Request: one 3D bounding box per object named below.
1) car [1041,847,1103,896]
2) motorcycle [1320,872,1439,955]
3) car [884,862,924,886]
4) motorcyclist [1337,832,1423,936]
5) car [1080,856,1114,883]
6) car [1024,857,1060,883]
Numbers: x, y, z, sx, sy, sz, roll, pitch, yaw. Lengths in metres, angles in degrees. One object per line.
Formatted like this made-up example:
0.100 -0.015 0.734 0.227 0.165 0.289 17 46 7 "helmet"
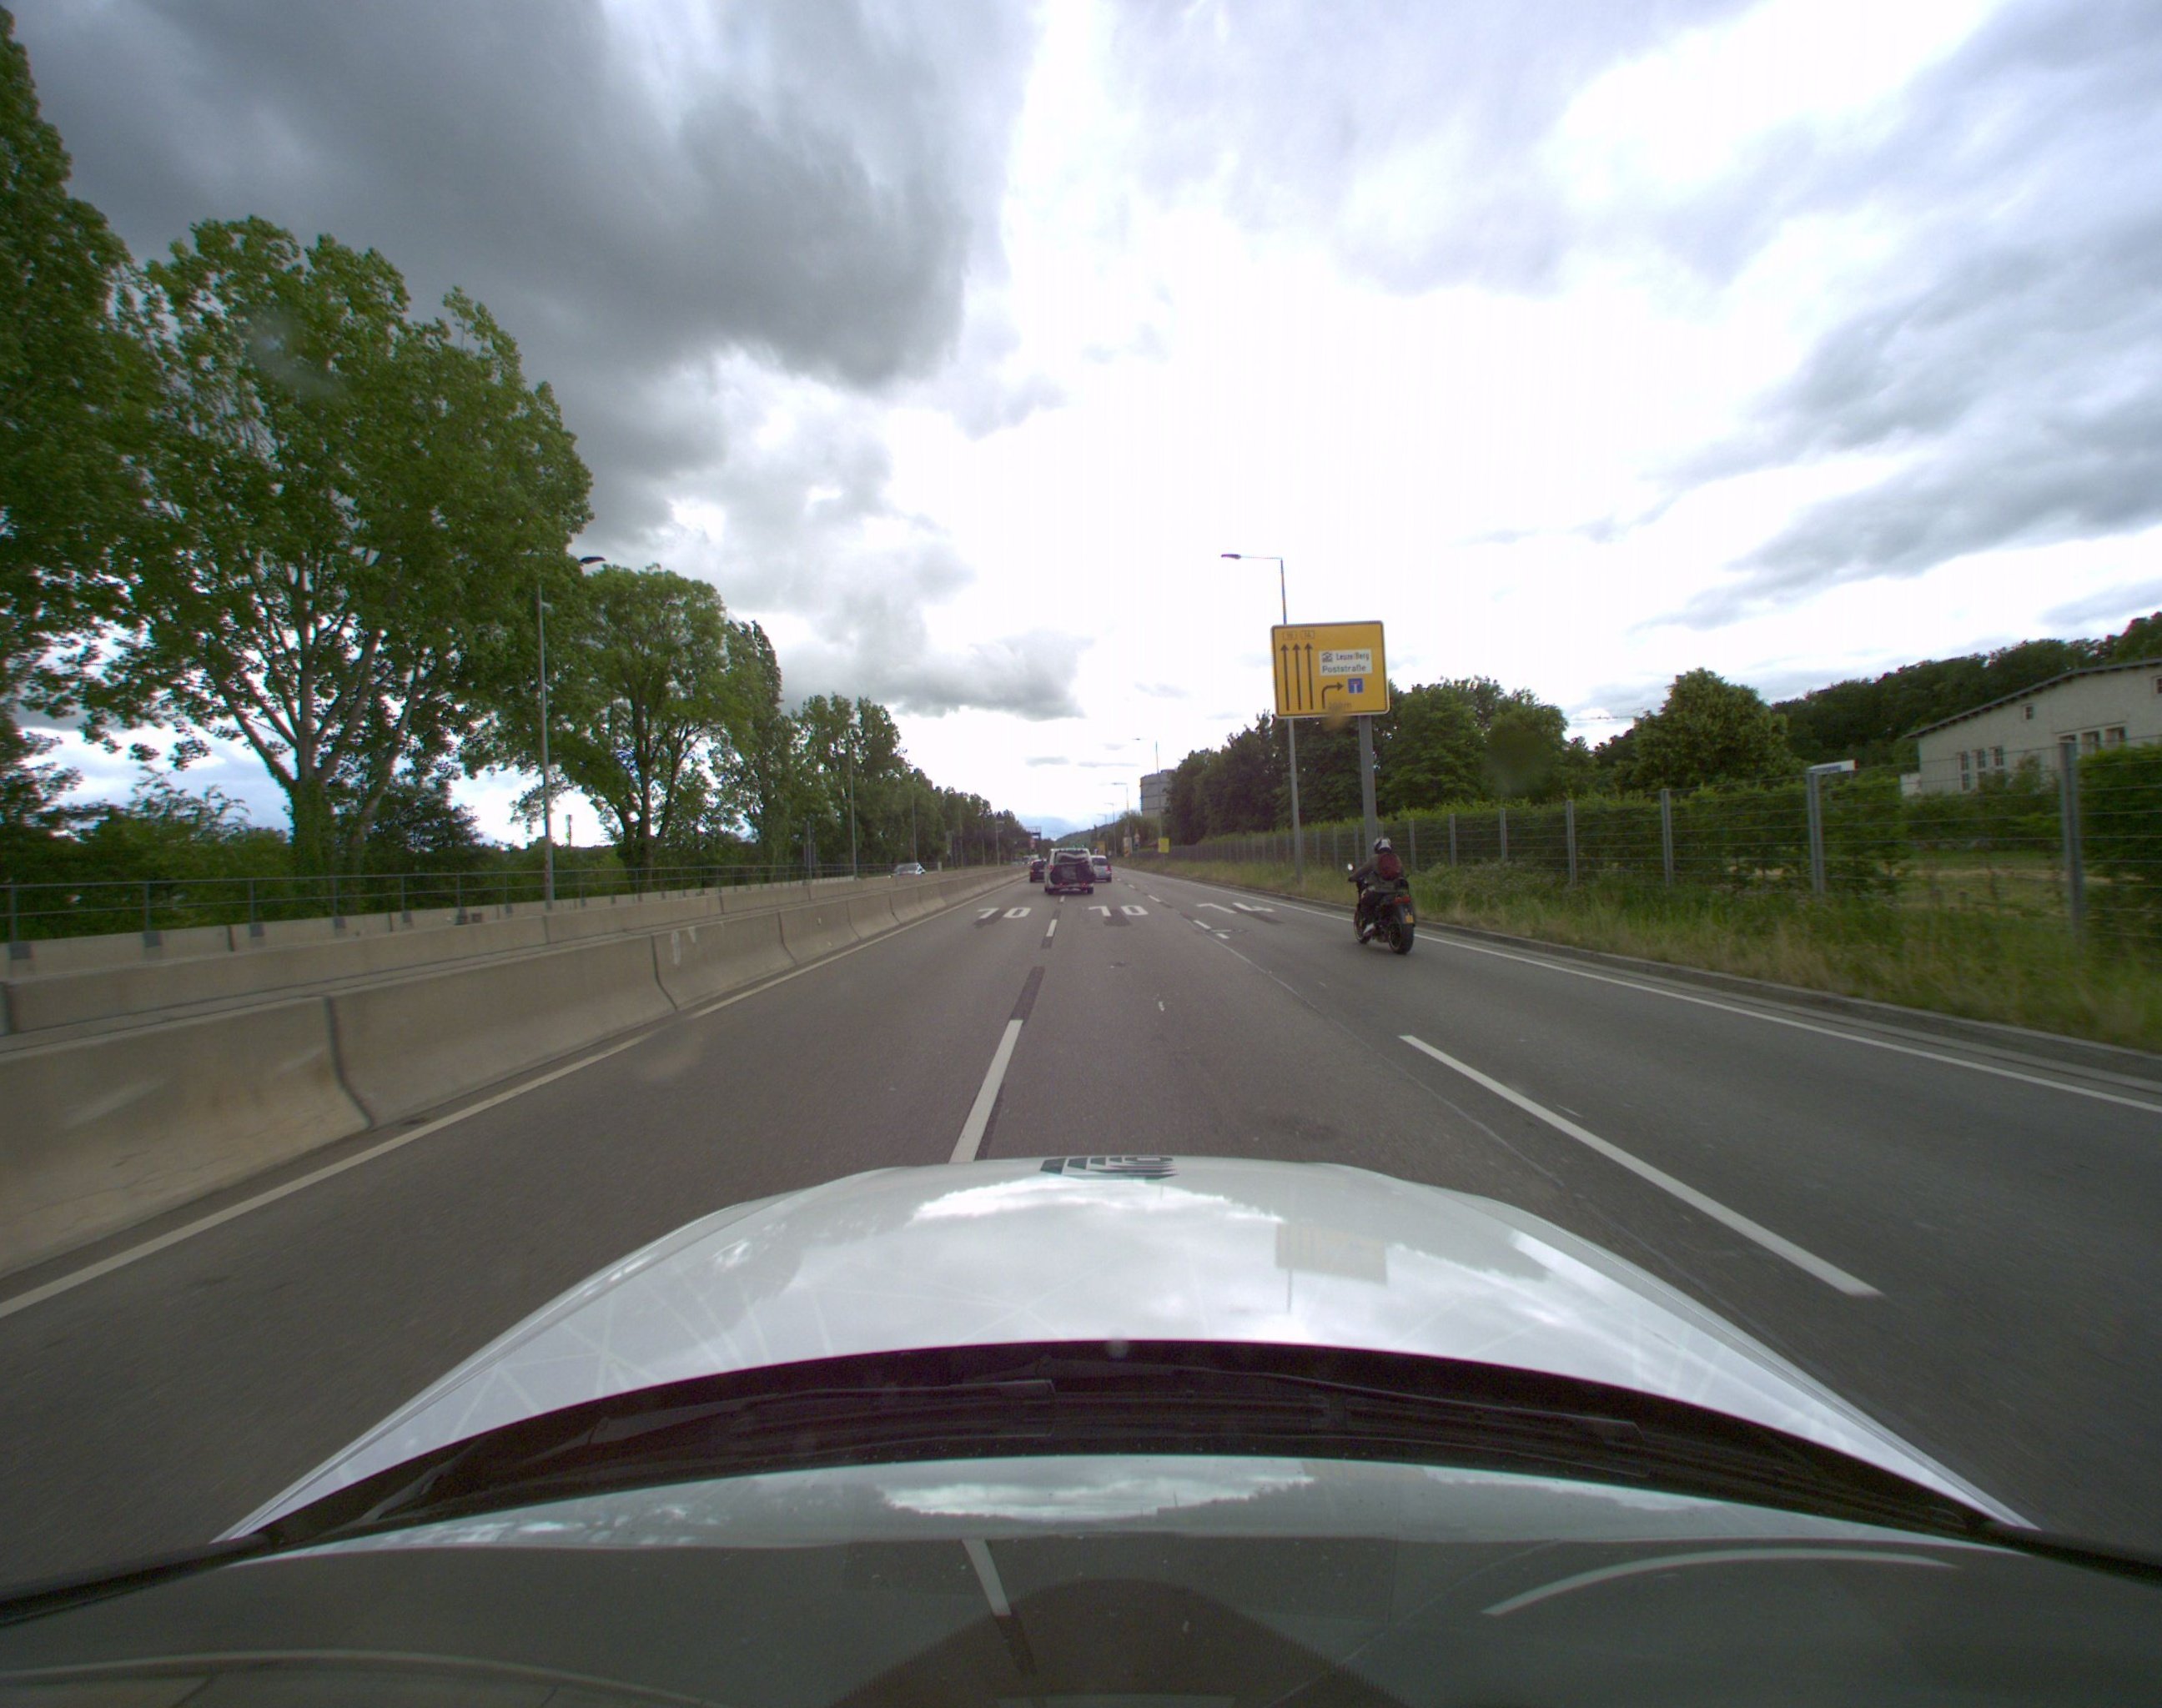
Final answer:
-0.478 0.681 34.037 1.991 1.859 5.626 0 0 -7 "car"
4.514 0.844 12.566 0.742 1.083 2.662 -3 -1 -2 "motorcycle"
-10.662 1.180 49.302 1.729 1.374 3.612 -2 0 -3 "car"
4.507 0.435 12.342 0.910 1.477 0.966 -2 0 -1 "motorcyclist"
0.977 0.901 48.261 1.913 1.489 4.066 -2 0 2 "car"
-2.437 0.959 51.219 1.808 1.434 4.068 -3 0 2 "car"
